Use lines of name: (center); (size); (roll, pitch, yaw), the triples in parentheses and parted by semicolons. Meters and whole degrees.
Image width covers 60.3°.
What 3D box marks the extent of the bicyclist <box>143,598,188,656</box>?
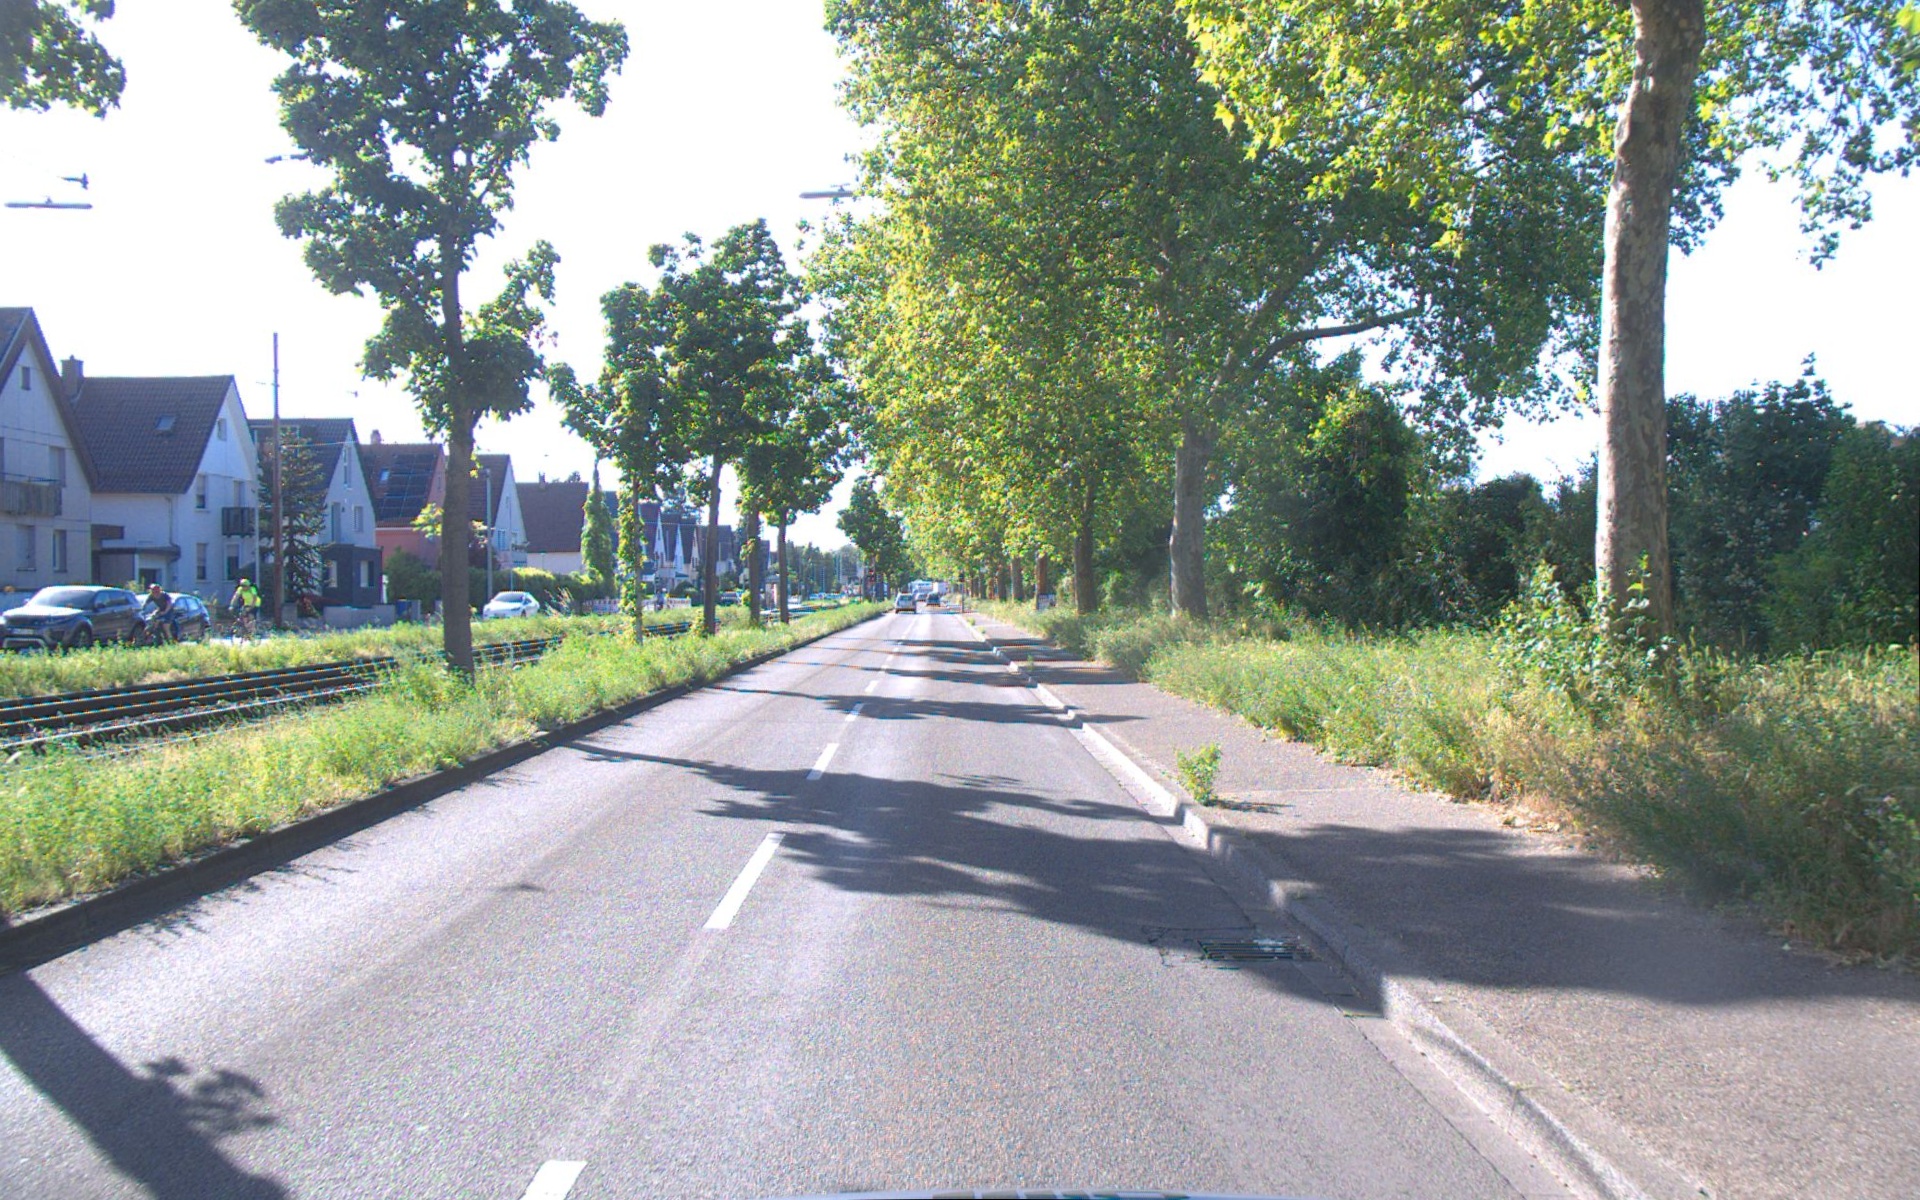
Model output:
bicyclist: (-19.183, 0.642, 39.932); (0.674, 1.360, 0.881); (0, 0, -1)

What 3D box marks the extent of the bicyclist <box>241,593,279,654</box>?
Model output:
bicyclist: (-19.316, 0.637, 45.661); (0.674, 1.681, 0.881); (0, 0, -1)

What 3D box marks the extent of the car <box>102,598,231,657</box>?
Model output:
car: (-21.233, 0.719, 44.426); (1.581, 1.476, 3.988); (1, 0, -1)

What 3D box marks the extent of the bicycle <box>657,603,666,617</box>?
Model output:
bicycle: (-20.404, 0.679, 113.018); (0.432, 0.917, 2.059); (1, 0, -5)

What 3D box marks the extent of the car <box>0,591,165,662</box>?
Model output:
car: (-21.206, 0.621, 40.162); (1.610, 1.595, 4.386); (1, 0, 0)

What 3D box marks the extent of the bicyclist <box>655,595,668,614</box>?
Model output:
bicyclist: (-20.388, 0.296, 113.074); (0.783, 1.300, 0.736); (1, -1, -5)

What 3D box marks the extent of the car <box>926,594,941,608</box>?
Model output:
car: (-3.095, 0.141, 192.362); (1.725, 1.539, 3.276); (1, 0, 0)

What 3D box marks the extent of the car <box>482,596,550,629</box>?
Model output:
car: (-22.418, 0.623, 83.627); (1.952, 1.627, 4.733); (1, 0, 2)

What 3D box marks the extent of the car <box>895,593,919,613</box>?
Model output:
car: (-3.978, 0.235, 124.815); (1.703, 1.425, 3.276); (1, 0, -1)

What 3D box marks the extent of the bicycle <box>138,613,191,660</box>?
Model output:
bicycle: (-19.129, 0.861, 39.816); (0.390, 1.088, 1.879); (0, 0, 0)

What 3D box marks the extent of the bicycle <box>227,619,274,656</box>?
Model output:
bicycle: (-19.193, 0.991, 44.779); (0.390, 0.944, 2.096); (0, 0, 0)

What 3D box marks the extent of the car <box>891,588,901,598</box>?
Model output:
car: (-9.969, -1.078, 257.372); (1.496, 1.480, 3.286); (1, 0, 0)
